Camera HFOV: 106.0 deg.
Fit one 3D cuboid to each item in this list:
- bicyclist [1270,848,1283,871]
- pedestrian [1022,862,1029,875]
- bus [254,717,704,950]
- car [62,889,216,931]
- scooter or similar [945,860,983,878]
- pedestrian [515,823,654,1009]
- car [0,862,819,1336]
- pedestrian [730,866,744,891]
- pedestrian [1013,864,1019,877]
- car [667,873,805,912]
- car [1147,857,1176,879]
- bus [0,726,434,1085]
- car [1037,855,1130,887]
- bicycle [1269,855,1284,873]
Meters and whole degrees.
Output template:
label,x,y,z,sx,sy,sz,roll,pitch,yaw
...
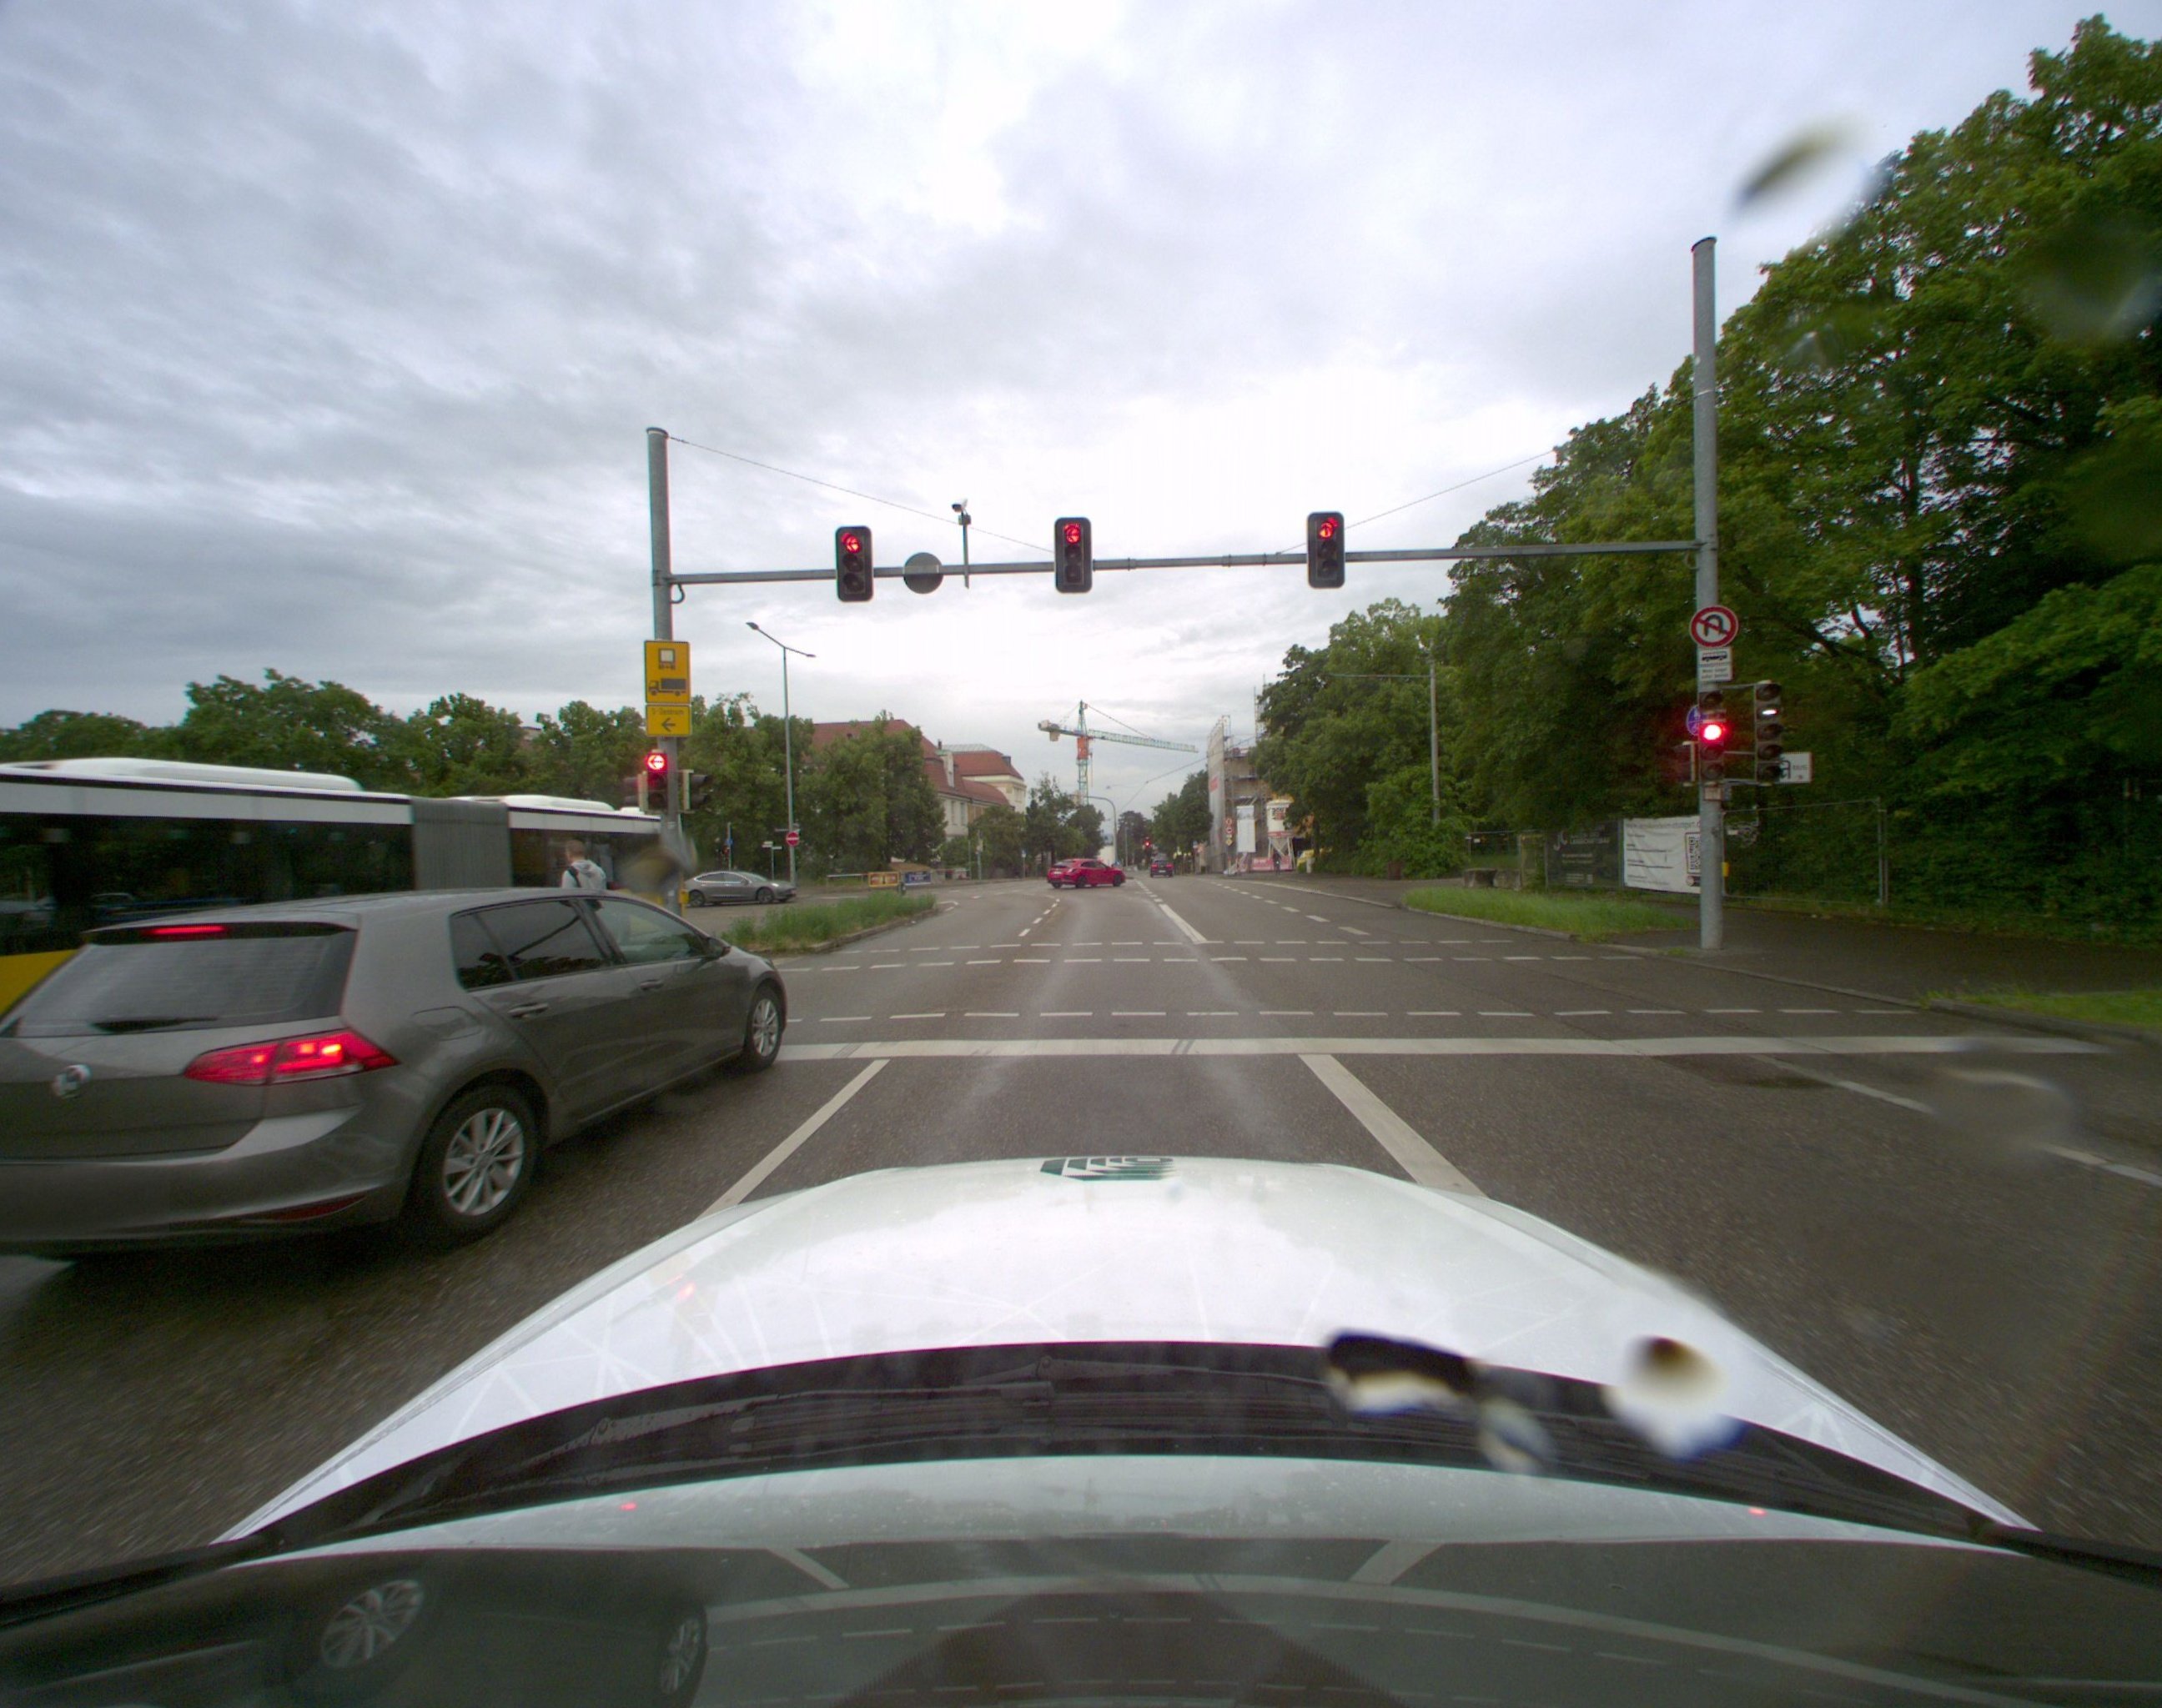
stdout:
label,x,y,z,sx,sy,sz,roll,pitch,yaw
bicyclist,13.401,0.399,55.874,0.717,1.564,1.144,0,-2,4
pedestrian,-5.898,1.506,86.841,0.635,1.386,0.606,0,-2,1
bus,-10.709,-0.298,16.126,2.882,3.307,8.564,-2,0,-4
car,-36.302,2.128,31.447,3.760,1.425,1.845,-1,0,0
scooter or similar,-9.959,1.281,69.605,3.078,1.440,0.948,-2,0,0
pedestrian,-5.758,0.693,9.492,0.935,2.013,0.849,-4,-1,7
car,-3.243,0.836,4.732,1.798,1.429,4.200,-3,0,3
pedestrian,-20.930,1.473,49.546,0.619,1.490,0.768,-2,0,-14
pedestrian,-6.845,1.770,86.278,0.584,1.430,0.467,0,-2,2
car,-14.055,1.567,33.389,4.756,1.425,1.999,-1,0,-1
car,6.378,1.148,64.845,1.986,1.706,4.001,0,-2,2
bus,-10.825,0.485,6.462,2.874,3.103,9.770,-2,0,5
car,0.179,0.796,40.285,4.546,1.425,1.975,-1,0,-45
bicycle,13.404,0.671,55.901,0.717,1.193,1.757,0,-2,4
